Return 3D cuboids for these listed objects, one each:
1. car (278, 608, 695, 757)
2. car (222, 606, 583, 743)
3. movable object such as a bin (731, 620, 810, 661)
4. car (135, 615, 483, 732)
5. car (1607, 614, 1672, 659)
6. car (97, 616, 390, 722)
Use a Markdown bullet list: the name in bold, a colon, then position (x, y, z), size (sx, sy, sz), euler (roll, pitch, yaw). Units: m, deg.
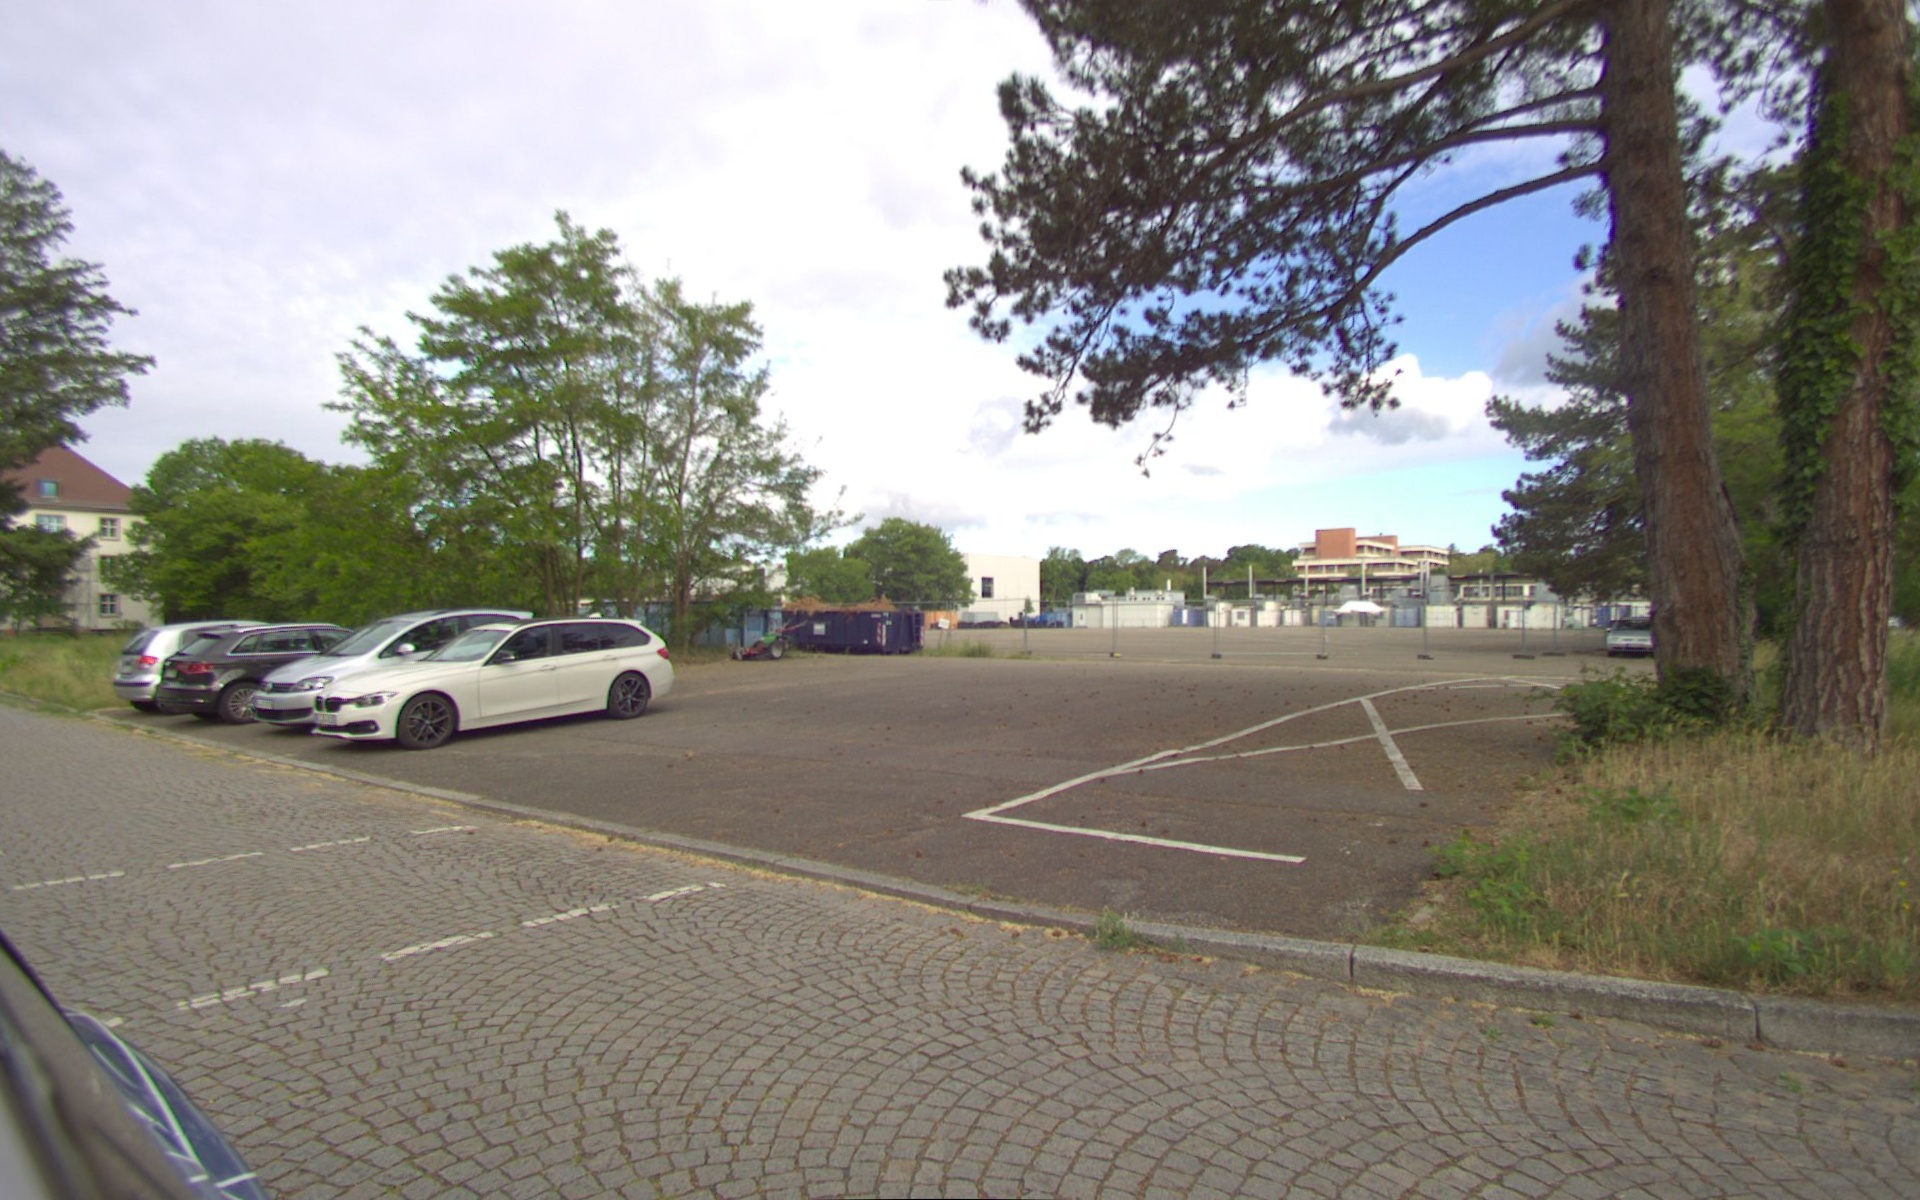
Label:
- **car**: position (-6.037, 0.947, 13.491), size (1.863, 1.499, 4.697), euler (-2, 0, 36)
- **car**: position (-8.057, 0.968, 15.046), size (1.867, 1.610, 4.328), euler (-1, 0, 33)
- **movable object such as a bin**: position (-5.402, 1.147, 28.981), size (0.857, 1.134, 2.240), euler (-1, -2, 37)
- **car**: position (-10.341, 1.064, 16.409), size (1.719, 1.435, 4.395), euler (-1, 1, 36)
- **car**: position (24.416, 1.259, 36.318), size (1.733, 1.443, 4.109), euler (-1, 0, 37)
- **car**: position (-12.535, 1.115, 17.941), size (1.581, 1.481, 3.915), euler (-1, 1, 35)
